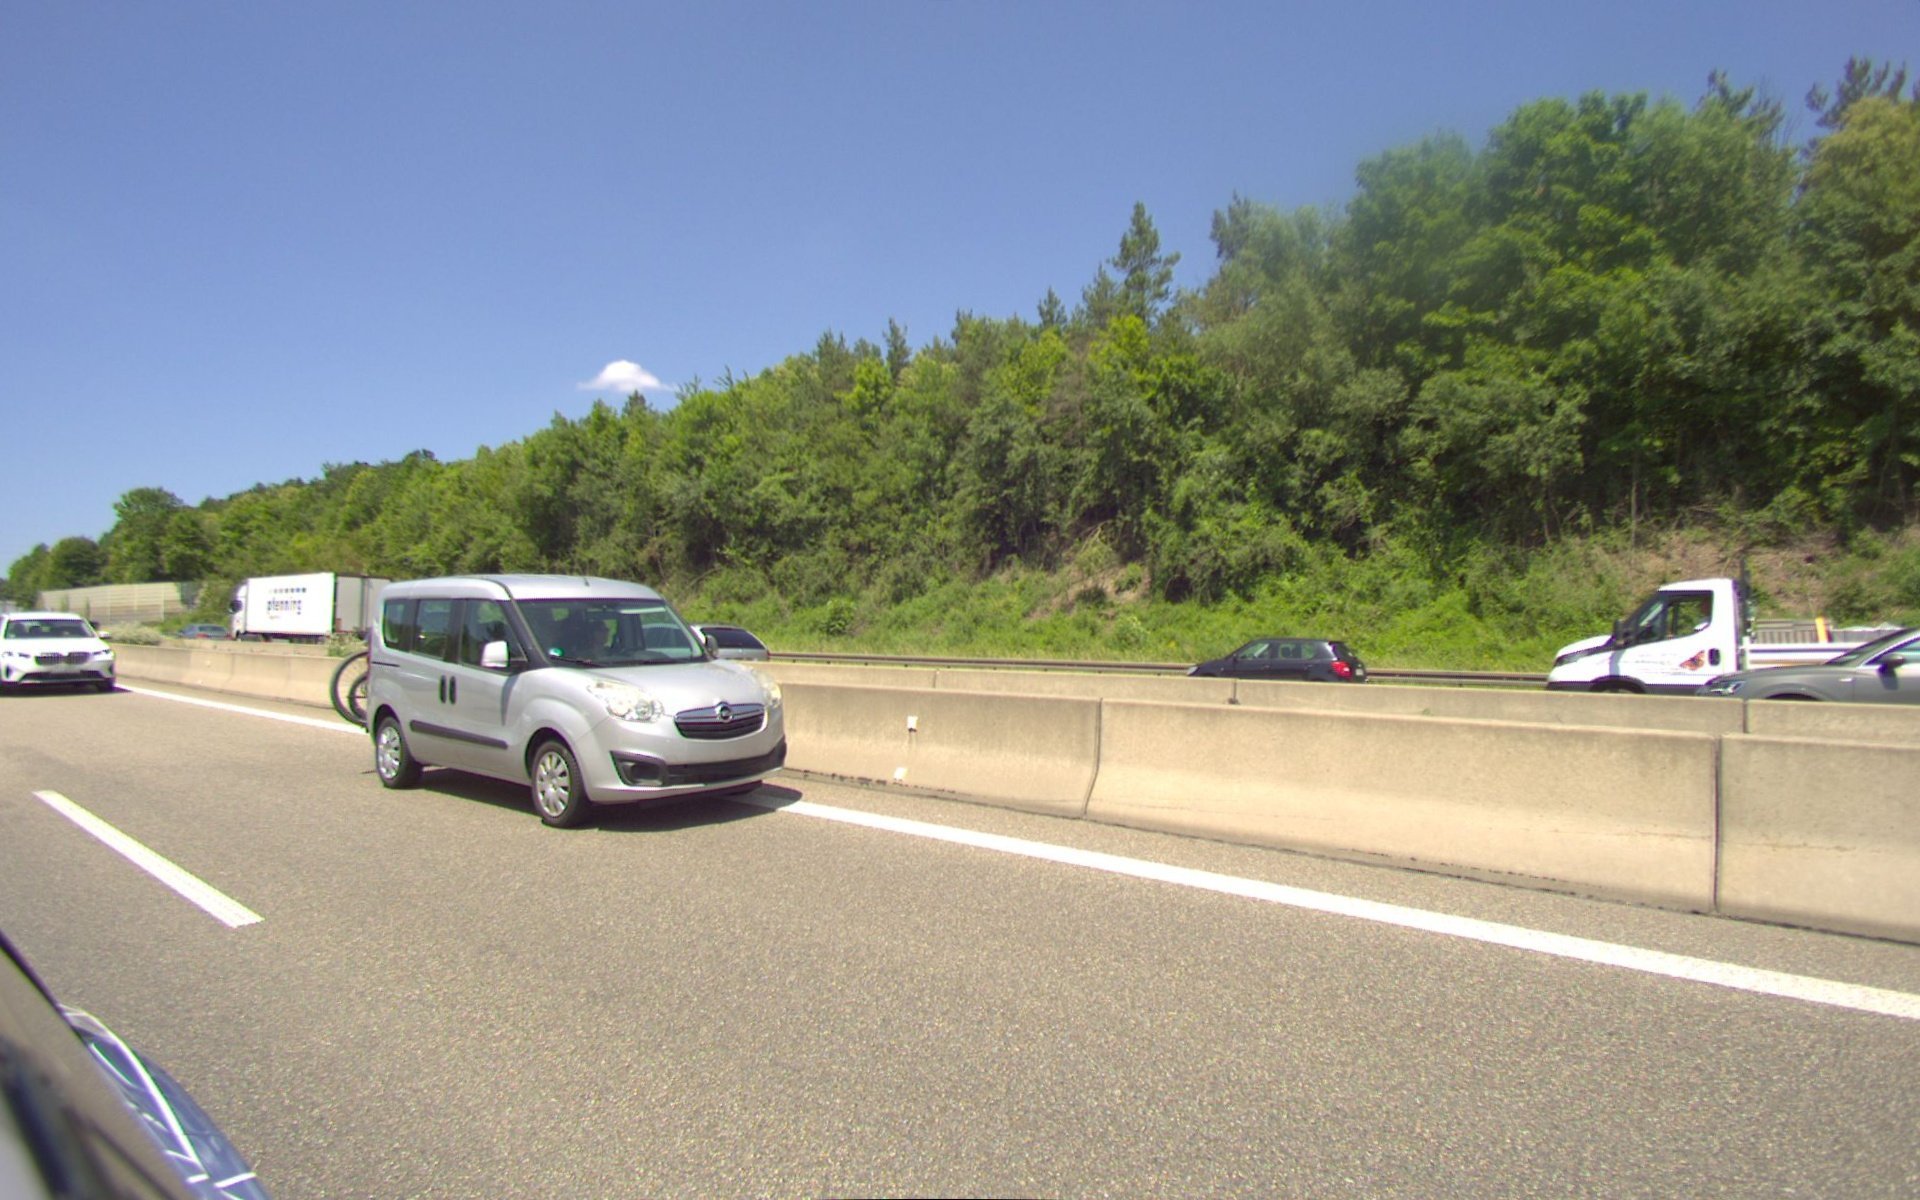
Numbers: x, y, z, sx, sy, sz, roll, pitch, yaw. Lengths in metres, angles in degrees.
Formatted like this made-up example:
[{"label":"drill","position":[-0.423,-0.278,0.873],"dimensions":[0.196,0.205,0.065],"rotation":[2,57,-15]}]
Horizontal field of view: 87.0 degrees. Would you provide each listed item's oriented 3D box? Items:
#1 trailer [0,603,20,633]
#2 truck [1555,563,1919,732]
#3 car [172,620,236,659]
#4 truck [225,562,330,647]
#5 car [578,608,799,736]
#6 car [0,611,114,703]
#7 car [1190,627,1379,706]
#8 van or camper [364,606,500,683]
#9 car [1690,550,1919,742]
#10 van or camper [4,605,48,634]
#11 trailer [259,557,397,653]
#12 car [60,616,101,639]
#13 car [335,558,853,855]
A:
[{"label":"trailer","position":[-126.267,2.299,132.788],"dimensions":[11.392,3.901,2.967],"rotation":[0,0,40]},{"label":"truck","position":[11.845,0.572,13.500],"dimensions":[6.486,2.029,2.328],"rotation":[0,0,39]},{"label":"car","position":[-38.279,1.964,51.191],"dimensions":[4.454,1.776,1.971],"rotation":[0,0,45]},{"label":"truck","position":[-38.494,0.246,56.991],"dimensions":[7.511,4.515,2.920],"rotation":[0,0,40]},{"label":"car","position":[-4.967,1.171,18.298],"dimensions":[3.998,2.029,1.973],"rotation":[0,0,41]},{"label":"car","position":[-19.377,1.115,21.283],"dimensions":[3.997,1.719,1.801],"rotation":[0,0,40]},{"label":"car","position":[7.094,1.388,22.230],"dimensions":[3.539,1.496,1.911],"rotation":[0,0,39]},{"label":"van or camper","position":[-15.440,1.206,29.475],"dimensions":[4.927,2.029,1.972],"rotation":[0,0,42]},{"label":"car","position":[10.084,0.439,10.216],"dimensions":[4.290,1.851,1.766],"rotation":[0,0,40]},{"label":"van or camper","position":[-83.308,1.724,90.279],"dimensions":[4.802,2.403,1.974],"rotation":[0,-5,39]},{"label":"trailer","position":[-32.683,0.260,52.086],"dimensions":[10.809,4.515,2.919],"rotation":[0,0,40]},{"label":"car","position":[-81.817,2.554,94.102],"dimensions":[4.472,2.029,2.093],"rotation":[0,0,38]},{"label":"car","position":[-3.252,0.645,8.375],"dimensions":[4.914,1.786,1.834],"rotation":[0,0,40]}]
